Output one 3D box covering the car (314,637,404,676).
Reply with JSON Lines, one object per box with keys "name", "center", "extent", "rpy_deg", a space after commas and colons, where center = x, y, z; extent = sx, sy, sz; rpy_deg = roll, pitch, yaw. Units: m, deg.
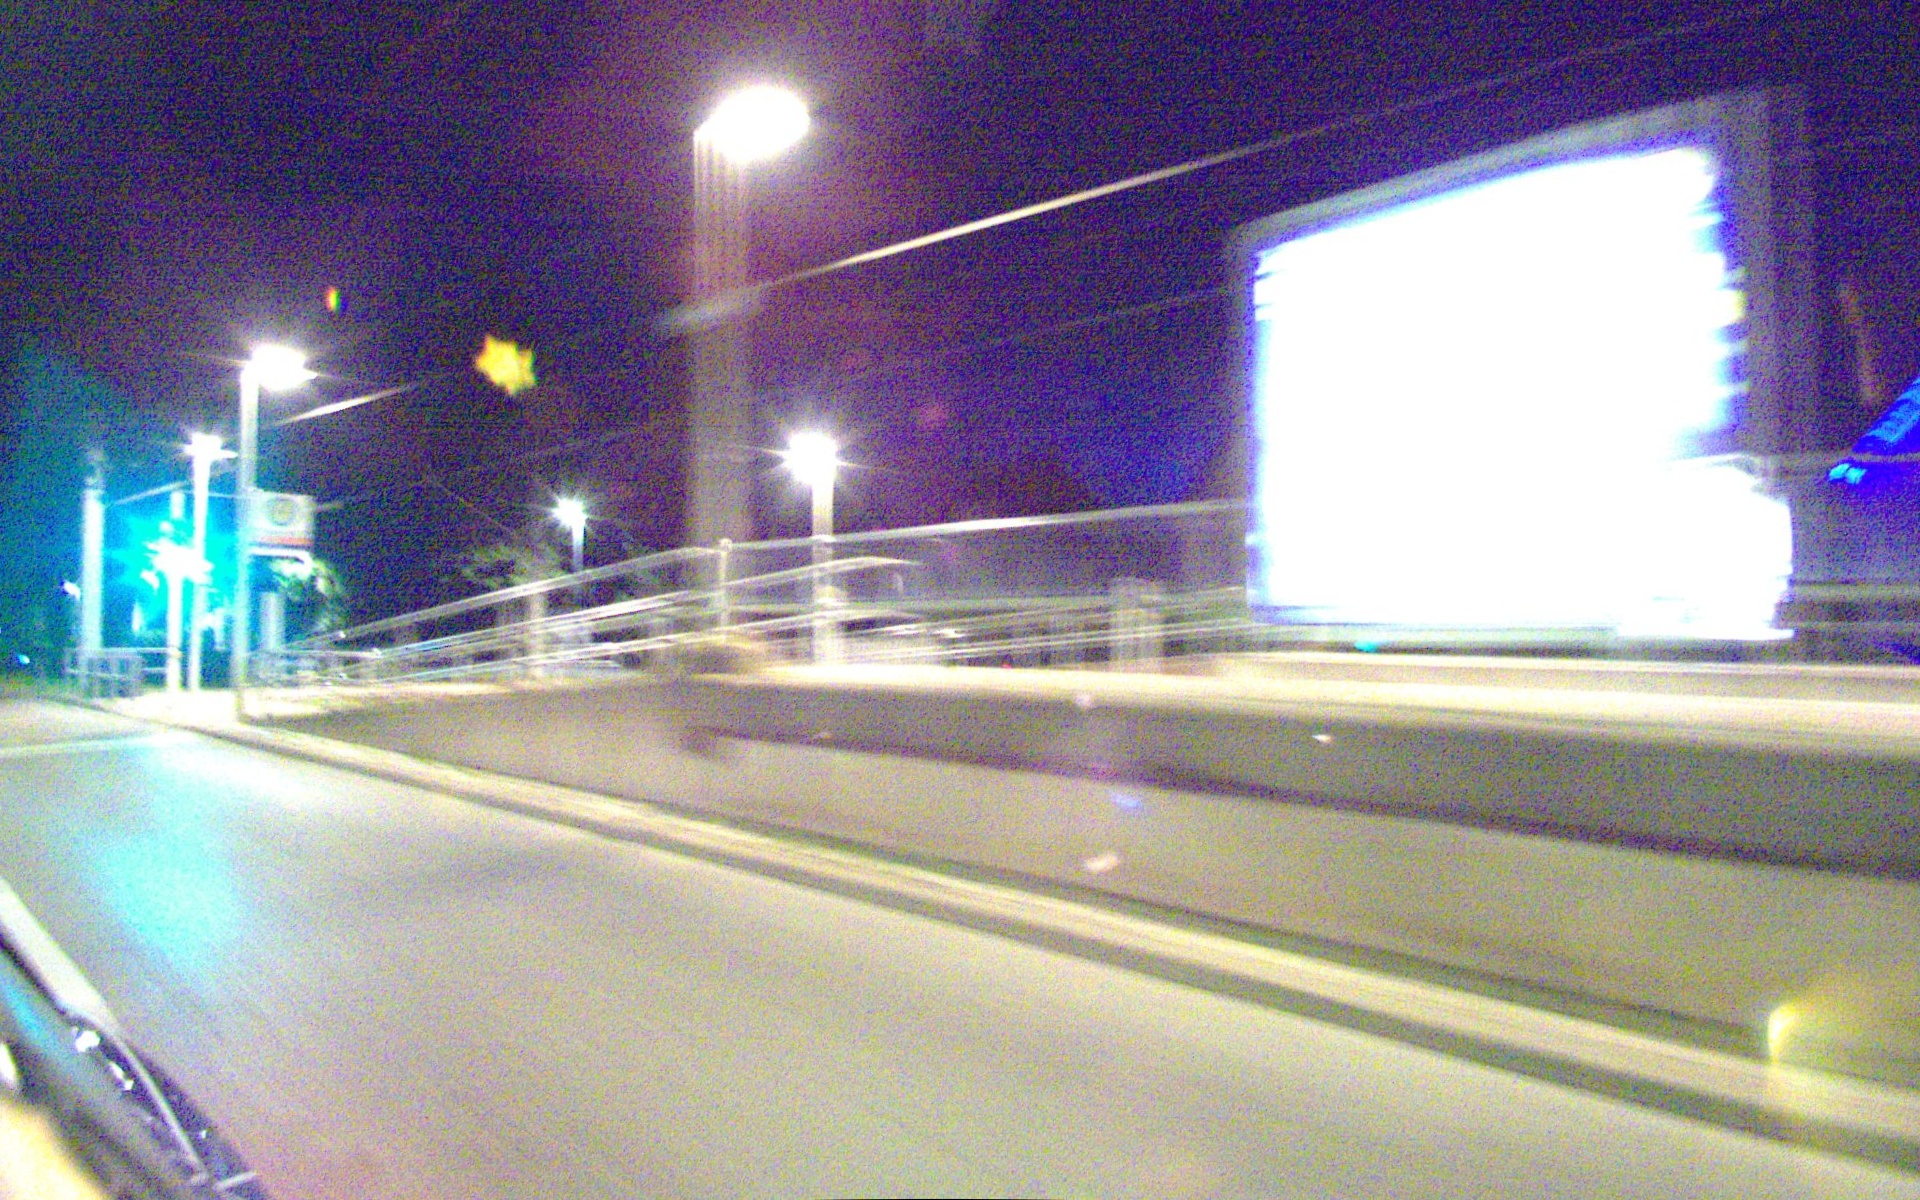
{"name": "car", "center": [-25.142, 2.336, 42.310], "extent": [4.088, 1.516, 1.848], "rpy_deg": [-2, -3, 38]}
